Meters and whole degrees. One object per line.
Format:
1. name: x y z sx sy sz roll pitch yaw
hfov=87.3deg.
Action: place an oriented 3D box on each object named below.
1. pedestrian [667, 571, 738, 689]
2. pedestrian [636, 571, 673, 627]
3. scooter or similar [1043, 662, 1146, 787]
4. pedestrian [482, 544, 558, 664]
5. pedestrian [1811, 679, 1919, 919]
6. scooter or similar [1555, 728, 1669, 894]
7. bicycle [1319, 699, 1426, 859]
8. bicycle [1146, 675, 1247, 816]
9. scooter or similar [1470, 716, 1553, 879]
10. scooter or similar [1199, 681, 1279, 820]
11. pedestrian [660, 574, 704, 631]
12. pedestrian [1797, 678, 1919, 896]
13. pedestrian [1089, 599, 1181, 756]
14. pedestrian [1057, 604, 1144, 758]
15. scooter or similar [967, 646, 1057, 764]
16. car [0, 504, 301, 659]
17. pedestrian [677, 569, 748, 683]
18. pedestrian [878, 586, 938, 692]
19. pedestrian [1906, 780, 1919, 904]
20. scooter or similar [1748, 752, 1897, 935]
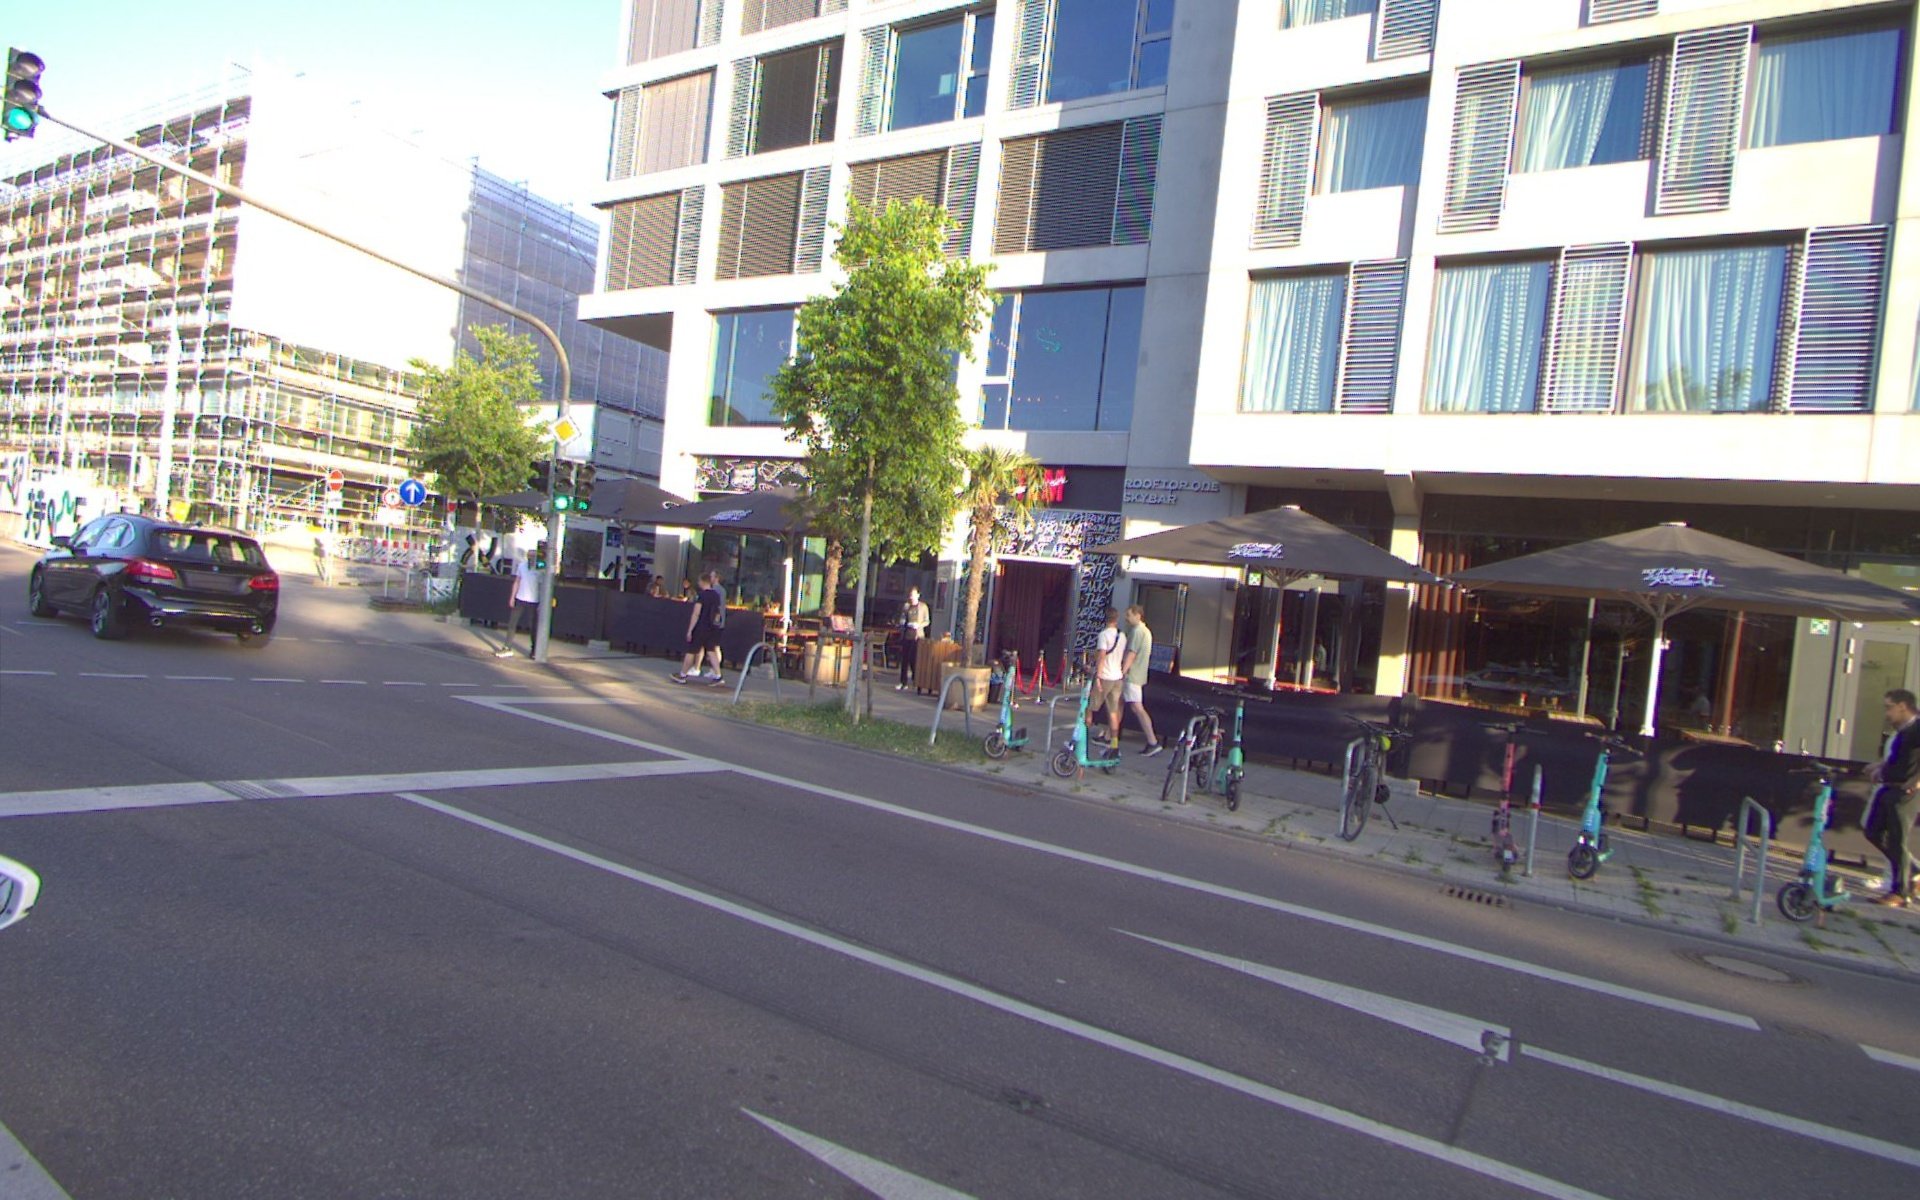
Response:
1. pedestrian: -3.988 0.459 15.563 0.677 1.725 0.654 7 3 30
2. pedestrian: -7.762 -0.027 25.554 0.610 1.337 0.613 2 4 -42
3. scooter or similar: 1.489 1.333 11.066 0.542 1.240 1.059 7 3 39
4. pedestrian: -7.296 0.067 16.704 0.756 1.871 0.678 6 2 14
5. pedestrian: 8.021 1.679 8.621 0.927 1.874 0.742 7 4 39
6. scooter or similar: 5.687 1.791 8.761 1.124 1.229 0.525 3 2 -45
7. bicycle: 3.974 1.635 9.610 0.598 1.197 1.847 7 2 29
8. bicycle: 2.514 1.463 10.553 0.557 1.209 1.796 7 2 25
9. scooter or similar: 4.879 1.695 8.880 0.501 1.207 1.156 5 1 32
10. scooter or similar: 2.865 1.493 10.265 0.471 1.217 1.211 7 2 25
11. pedestrian: -6.932 0.071 25.094 0.705 1.337 0.743 8 4 43
12. pedestrian: 8.466 1.706 9.436 0.765 1.837 0.617 7 4 39
13. pedestrian: 2.296 0.986 13.163 0.851 1.913 0.825 5 2 27
14. pedestrian: 1.765 0.989 12.591 0.814 1.810 0.577 5 2 25
15. scooter or similar: 0.627 1.202 11.873 0.588 1.240 1.053 7 2 26
16. car: -11.180 -0.295 13.741 4.714 1.536 1.823 6 -1 33
17. pedestrian: -4.047 0.417 16.480 0.748 1.758 0.685 7 3 30
18. pedestrian: -0.890 0.660 17.292 0.567 1.726 0.855 6 2 21
19. pedestrian: 9.001 1.777 8.727 0.927 1.849 0.755 7 3 39
20. scooter or similar: 6.917 1.898 8.057 1.284 1.235 0.530 3 3 -36
